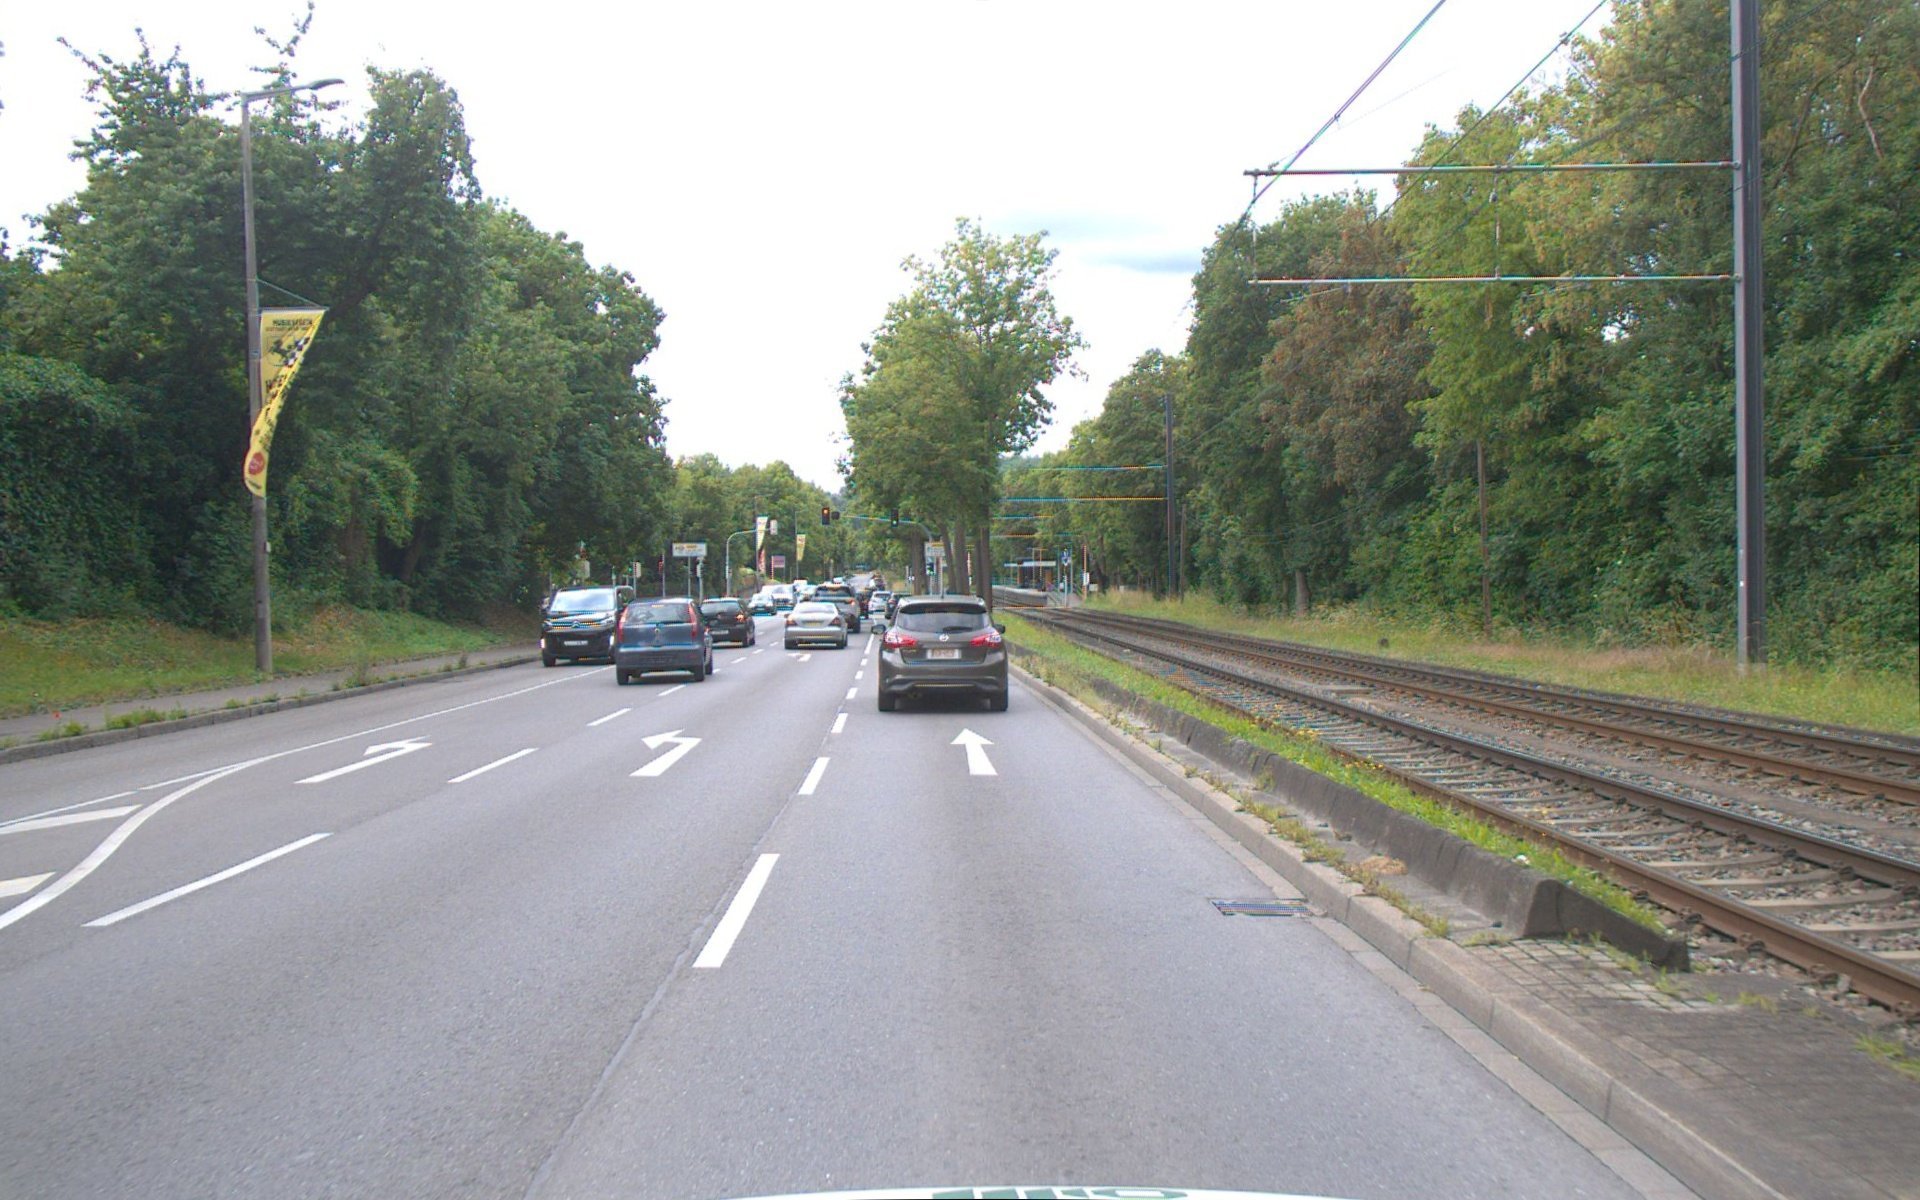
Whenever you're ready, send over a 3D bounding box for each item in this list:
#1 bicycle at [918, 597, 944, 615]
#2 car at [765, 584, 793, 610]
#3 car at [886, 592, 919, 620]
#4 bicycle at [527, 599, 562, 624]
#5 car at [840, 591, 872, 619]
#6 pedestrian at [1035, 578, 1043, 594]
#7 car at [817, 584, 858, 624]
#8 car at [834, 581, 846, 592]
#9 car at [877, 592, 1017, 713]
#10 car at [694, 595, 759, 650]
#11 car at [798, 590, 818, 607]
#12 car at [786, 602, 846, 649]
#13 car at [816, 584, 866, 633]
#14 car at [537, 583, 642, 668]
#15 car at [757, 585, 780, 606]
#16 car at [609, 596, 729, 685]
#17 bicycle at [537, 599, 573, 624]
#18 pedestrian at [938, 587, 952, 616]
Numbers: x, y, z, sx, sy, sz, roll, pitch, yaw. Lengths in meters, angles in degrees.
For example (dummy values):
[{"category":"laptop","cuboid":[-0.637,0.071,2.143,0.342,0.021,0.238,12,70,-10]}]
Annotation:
[{"category":"bicycle","cuboid":[-1.936,0.379,110.627,1.642,1.109,0.601,-4,0,-7]},{"category":"car","cuboid":[-13.695,-0.242,125.288,1.756,1.863,4.406,-2,0,-3]},{"category":"car","cuboid":[-3.147,0.299,91.008,1.675,1.501,3.670,0,0,-1]},{"category":"bicycle","cuboid":[-21.905,0.616,87.161,0.534,1.274,1.929,1,0,34]},{"category":"car","cuboid":[-5.735,0.280,91.283,1.669,1.506,3.665,0,0,-3]},{"category":"pedestrian","cuboid":[7.324,-1.291,153.505,0.704,1.538,0.724,1,-1,0]},{"category":"car","cuboid":[-5.996,0.193,81.526,1.869,1.875,5.279,0,0,-3]},{"category":"car","cuboid":[-18.880,-2.162,260.185,1.865,1.708,5.075,0,0,-5]},{"category":"car","cuboid":[-0.197,0.663,23.248,1.800,1.555,3.928,0,0,-1]},{"category":"car","cuboid":[-6.986,0.653,49.706,1.525,1.492,3.805,-3,0,-3]},{"category":"car","cuboid":[-14.049,-0.132,153.275,1.705,1.565,3.907,1,0,-3]},{"category":"car","cuboid":[-4.079,0.698,47.313,1.524,1.289,3.820,0,0,-2]},{"category":"car","cuboid":[-4.609,0.334,64.564,1.767,1.826,4.501,0,0,-2]},{"category":"car","cuboid":[-9.206,0.606,41.447,1.767,1.937,4.686,-2,0,-3]},{"category":"car","cuboid":[-16.795,-0.408,144.911,1.907,1.843,4.436,0,0,-7]},{"category":"car","cuboid":[-5.353,0.703,30.832,1.559,1.493,3.928,-2,0,-1]},{"category":"bicycle","cuboid":[-21.268,0.626,86.897,0.534,1.274,1.929,1,-1,34]},{"category":"pedestrian","cuboid":[-0.925,0.079,102.859,0.736,1.767,0.840,-3,0,2]}]
